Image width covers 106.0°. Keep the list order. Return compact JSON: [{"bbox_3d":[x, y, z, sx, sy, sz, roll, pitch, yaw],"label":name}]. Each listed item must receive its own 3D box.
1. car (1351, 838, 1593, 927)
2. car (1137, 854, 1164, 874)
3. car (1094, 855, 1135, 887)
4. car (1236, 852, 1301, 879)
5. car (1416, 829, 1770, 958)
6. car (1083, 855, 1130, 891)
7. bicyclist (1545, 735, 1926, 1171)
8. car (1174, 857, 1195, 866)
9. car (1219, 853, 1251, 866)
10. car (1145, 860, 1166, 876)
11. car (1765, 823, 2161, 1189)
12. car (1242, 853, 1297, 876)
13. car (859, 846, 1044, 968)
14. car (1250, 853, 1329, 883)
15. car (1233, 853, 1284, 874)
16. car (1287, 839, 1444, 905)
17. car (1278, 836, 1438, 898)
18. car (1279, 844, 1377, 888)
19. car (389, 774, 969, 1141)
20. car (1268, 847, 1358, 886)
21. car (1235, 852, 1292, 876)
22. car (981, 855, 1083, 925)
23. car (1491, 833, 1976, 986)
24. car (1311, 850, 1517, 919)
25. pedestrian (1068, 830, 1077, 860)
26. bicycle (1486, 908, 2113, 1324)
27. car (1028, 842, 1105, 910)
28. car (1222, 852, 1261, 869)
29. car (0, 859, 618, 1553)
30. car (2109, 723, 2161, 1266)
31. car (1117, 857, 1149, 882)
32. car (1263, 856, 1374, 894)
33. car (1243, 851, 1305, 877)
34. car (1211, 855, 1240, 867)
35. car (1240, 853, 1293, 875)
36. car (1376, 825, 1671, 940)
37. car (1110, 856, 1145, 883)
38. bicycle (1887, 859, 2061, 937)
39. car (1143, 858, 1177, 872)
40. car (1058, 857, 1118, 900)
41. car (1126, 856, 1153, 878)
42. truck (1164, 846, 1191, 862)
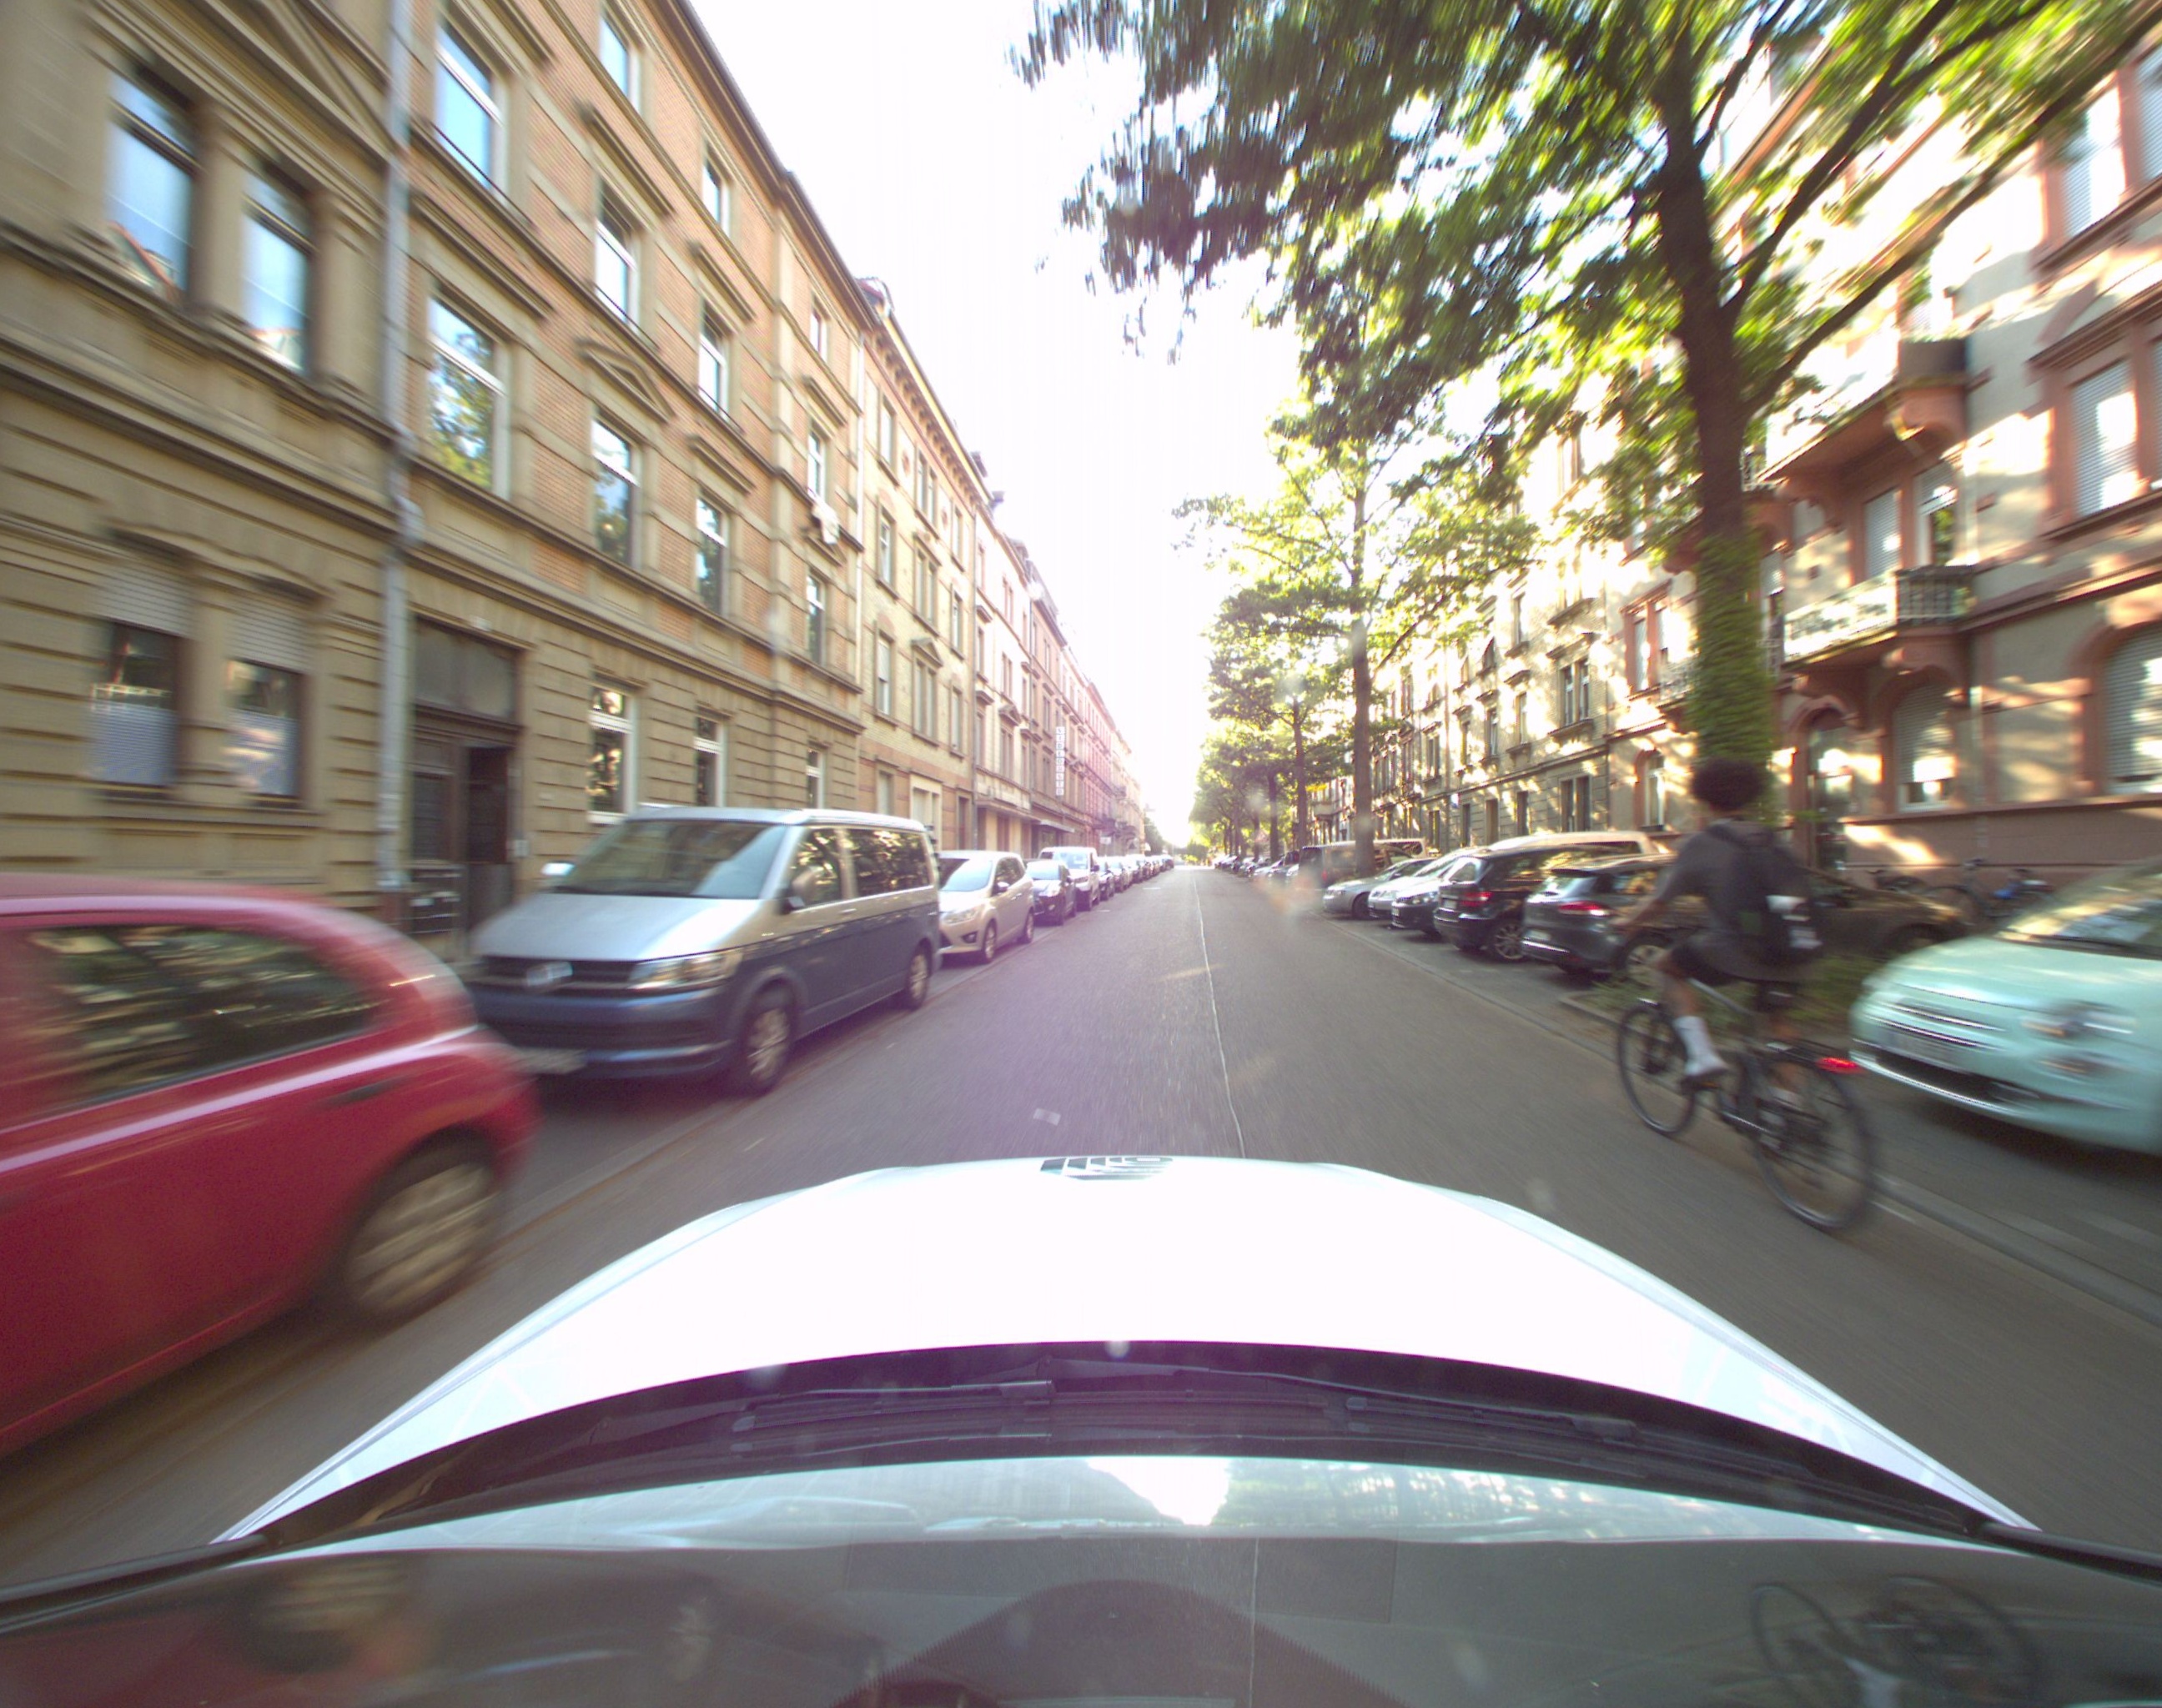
[{"bbox_3d":[8.133,0.572,17.215,4.207,1.611,1.835,-2,-1,0],"label":"car"},{"bbox_3d":[5.464,0.816,63.839,1.983,1.486,4.007,-1,-2,7],"label":"car"},{"bbox_3d":[1.699,0.799,40.258,1.749,1.473,4.066,-1,0,6],"label":"car"},{"bbox_3d":[12.403,0.751,53.946,3.838,1.574,1.717,-2,-1,-1],"label":"car"},{"bbox_3d":[7.250,0.567,11.919,3.989,1.607,1.737,-2,-1,7],"label":"car"},{"bbox_3d":[1.185,0.815,35.807,1.749,1.473,4.066,-1,0,6],"label":"car"},{"bbox_3d":[3.066,0.405,4.012,0.990,1.790,1.210,0,0,9],"label":"bicyclist"},{"bbox_3d":[20.671,1.485,162.259,3.957,1.859,1.758,0,0,15],"label":"car"},{"bbox_3d":[19.467,0.707,102.995,3.830,1.574,1.721,-2,-1,6],"label":"car"},{"bbox_3d":[7.692,1.460,83.883,1.983,1.486,4.007,-1,-2,7],"label":"car"},{"bbox_3d":[6.255,0.572,4.320,3.645,1.455,1.850,-3,0,1],"label":"car"},{"bbox_3d":[14.660,0.796,63.502,3.838,1.574,1.717,-2,-1,-1],"label":"car"},{"bbox_3d":[-1.878,0.730,13.262,1.744,1.608,4.393,1,0,8],"label":"car"},{"bbox_3d":[11.239,0.744,44.035,3.833,1.479,1.720,-2,-1,4],"label":"car"},{"bbox_3d":[14.819,0.773,68.173,3.838,1.574,1.717,-2,-1,-1],"label":"car"},{"bbox_3d":[8.777,0.533,25.229,4.224,1.795,1.827,-2,-1,-12],"label":"car"},{"bbox_3d":[9.677,0.445,28.812,5.029,1.925,1.839,-2,-1,7],"label":"car"},{"bbox_3d":[11.003,0.523,36.473,3.833,1.797,1.720,-2,-1,4],"label":"car"},{"bbox_3d":[-2.606,0.556,7.087,1.822,1.943,5.271,1,0,8],"label":"car"},{"bbox_3d":[10.992,0.593,38.760,3.833,1.699,1.720,-2,-1,4],"label":"car"},{"bbox_3d":[13.663,0.755,61.198,3.838,1.574,1.717,-2,-1,-1],"label":"car"},{"bbox_3d":[-1.057,0.781,19.595,1.749,1.467,4.007,1,0,6],"label":"car"},{"bbox_3d":[7.137,0.608,9.322,3.989,1.468,1.737,-2,-1,7],"label":"car"},{"bbox_3d":[7.903,0.707,19.642,4.203,1.403,1.836,-2,-1,2],"label":"car"},{"bbox_3d":[-0.547,-0.587,51.067,0.496,1.861,0.464,0,0,7],"label":"pedestrian"},{"bbox_3d":[3.086,0.950,4.162,0.990,1.158,2.930,0,0,9],"label":"bicycle"},{"bbox_3d":[-0.340,0.623,24.615,1.749,1.842,4.537,-1,0,6],"label":"car"},{"bbox_3d":[16.923,0.664,85.831,3.830,1.574,1.721,-2,-1,6],"label":"car"},{"bbox_3d":[-3.130,0.766,1.839,1.583,1.475,3.709,1,0,10],"label":"car"},{"bbox_3d":[5.879,0.399,1.805,4.420,1.924,1.854,-3,0,7],"label":"car"},{"bbox_3d":[3.324,0.953,51.462,1.749,1.473,4.066,-1,0,6],"label":"car"},{"bbox_3d":[9.218,0.800,31.832,3.833,1.294,1.720,-2,-1,4],"label":"car"},{"bbox_3d":[13.273,0.700,56.270,3.838,1.574,1.717,-2,-1,-1],"label":"car"},{"bbox_3d":[20.567,0.989,115.982,3.830,1.574,1.721,-2,-1,6],"label":"car"},{"bbox_3d":[15.022,0.794,66.093,3.838,1.574,1.717,-2,-1,-1],"label":"car"},{"bbox_3d":[7.691,0.496,14.540,4.199,1.777,1.838,-2,-1,6],"label":"car"},{"bbox_3d":[2.718,0.858,46.727,1.749,1.473,4.066,-1,0,6],"label":"car"},{"bbox_3d":[12.577,0.585,11.560,0.550,1.001,1.897,-2,-1,8],"label":"bicycle"},{"bbox_3d":[9.178,1.329,94.245,1.974,1.486,4.024,-2,-3,40],"label":"car"},{"bbox_3d":[0.333,0.841,29.688,1.749,1.473,4.066,-1,0,6],"label":"car"},{"bbox_3d":[4.213,0.891,57.908,1.749,1.473,4.066,-1,0,6],"label":"car"},{"bbox_3d":[26.339,-0.010,222.275,7.265,3.950,2.414,2,0,-29],"label":"truck"}]
